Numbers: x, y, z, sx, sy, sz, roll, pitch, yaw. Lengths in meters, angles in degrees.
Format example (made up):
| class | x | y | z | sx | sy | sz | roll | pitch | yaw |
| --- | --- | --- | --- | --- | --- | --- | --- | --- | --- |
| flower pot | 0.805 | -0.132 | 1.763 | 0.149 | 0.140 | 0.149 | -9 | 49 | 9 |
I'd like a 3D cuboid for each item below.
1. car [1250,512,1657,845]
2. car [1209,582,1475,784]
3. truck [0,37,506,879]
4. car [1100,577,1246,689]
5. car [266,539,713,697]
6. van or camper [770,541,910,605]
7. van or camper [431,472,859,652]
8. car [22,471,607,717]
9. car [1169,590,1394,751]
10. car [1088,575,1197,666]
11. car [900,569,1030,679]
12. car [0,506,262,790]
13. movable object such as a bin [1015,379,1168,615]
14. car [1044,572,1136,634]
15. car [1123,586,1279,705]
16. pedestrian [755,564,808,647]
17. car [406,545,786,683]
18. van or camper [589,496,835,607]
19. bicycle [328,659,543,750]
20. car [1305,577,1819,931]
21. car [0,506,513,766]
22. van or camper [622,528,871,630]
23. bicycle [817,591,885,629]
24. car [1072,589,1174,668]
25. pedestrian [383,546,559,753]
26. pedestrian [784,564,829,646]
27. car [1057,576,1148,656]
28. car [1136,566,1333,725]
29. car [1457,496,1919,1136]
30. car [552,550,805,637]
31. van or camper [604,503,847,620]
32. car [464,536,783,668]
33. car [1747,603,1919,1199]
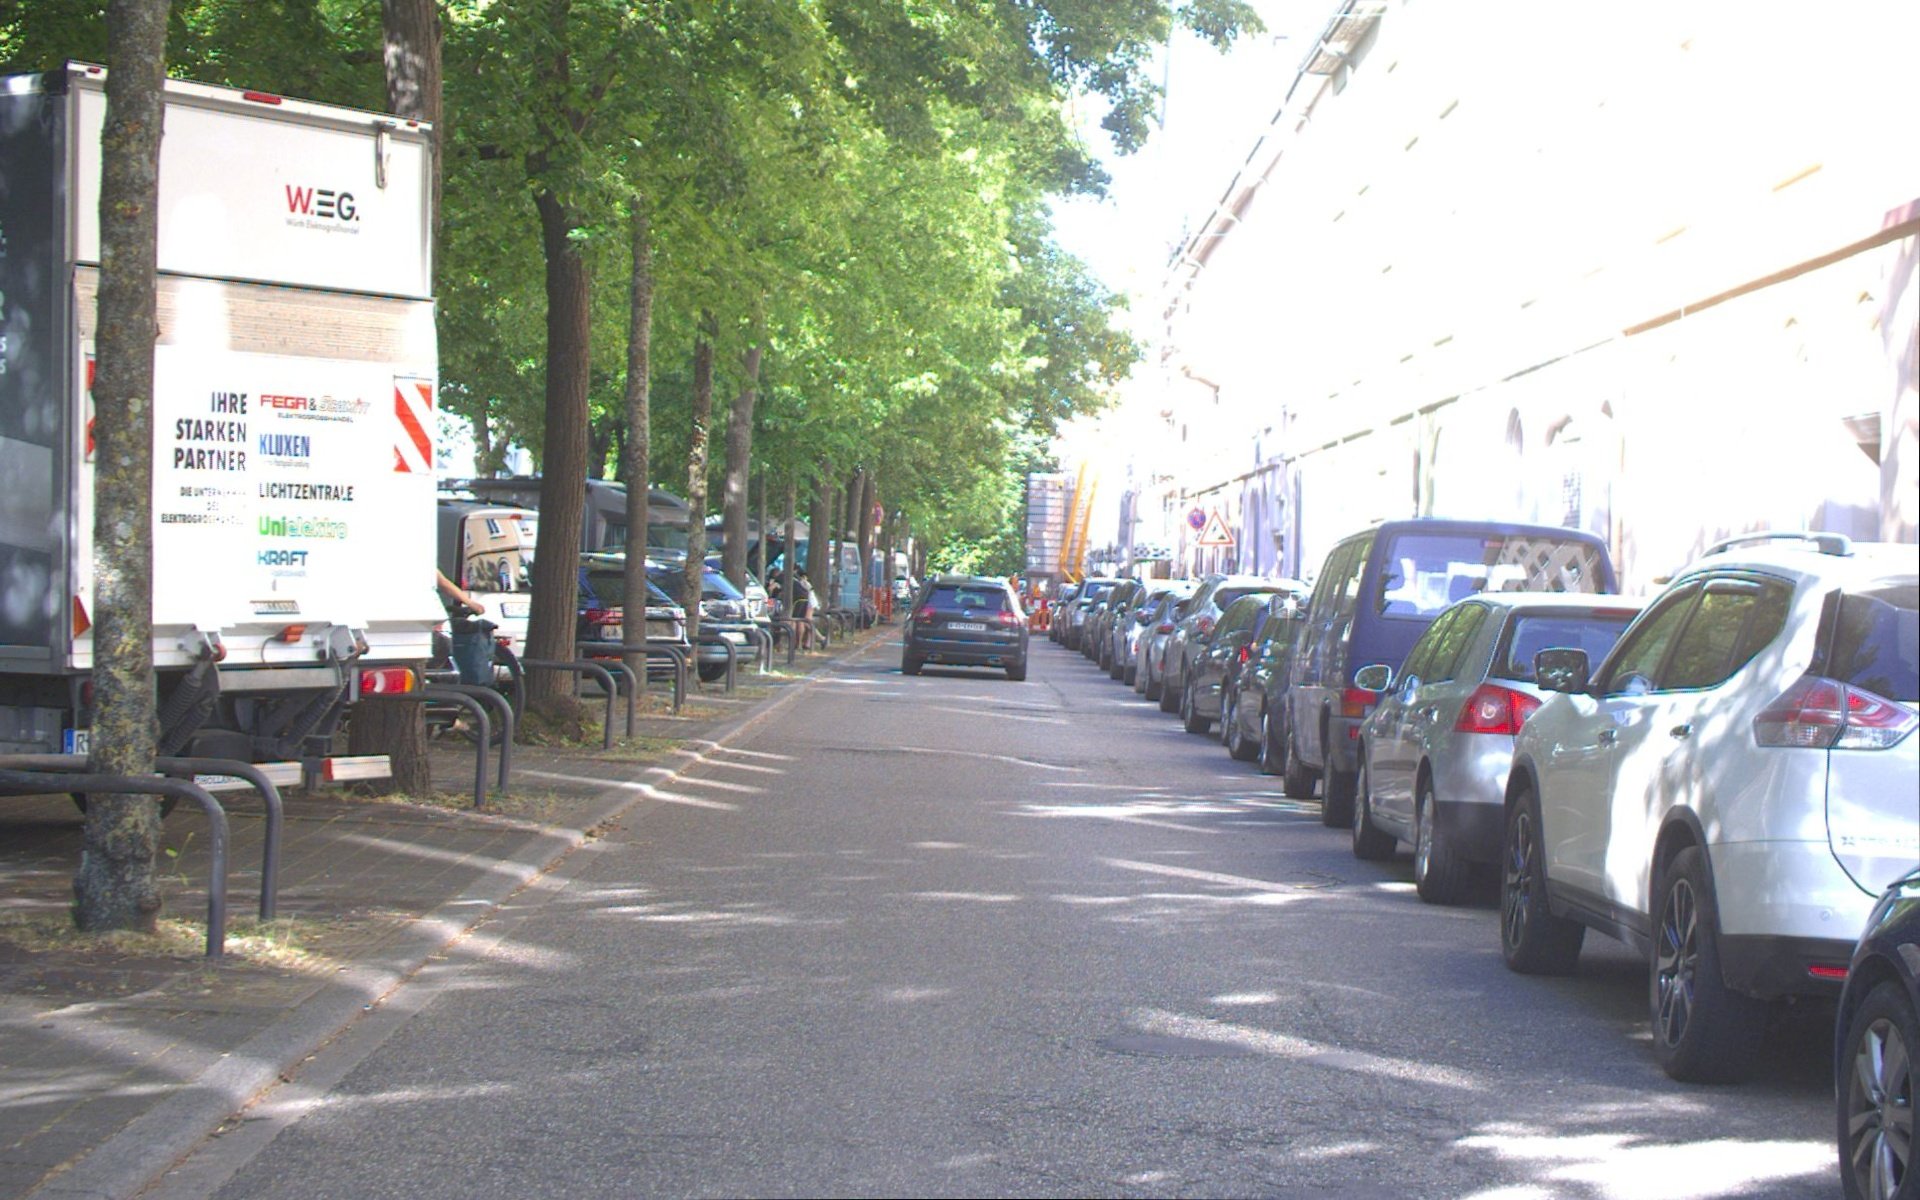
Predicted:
| class | x | y | z | sx | sy | sz | roll | pitch | yaw |
| --- | --- | --- | --- | --- | --- | --- | --- | --- | --- |
| car | 3.113 | 0.441 | 22.677 | 1.948 | 1.894 | 4.845 | 2 | 0 | 0 |
| car | 3.085 | 0.633 | 28.381 | 1.621 | 1.493 | 3.595 | 2 | 0 | -2 |
| truck | -5.871 | -0.650 | 16.402 | 7.315 | 3.282 | 2.542 | 2 | 1 | 32 |
| car | 3.141 | 0.460 | 51.399 | 1.722 | 1.523 | 4.158 | 2 | 0 | -2 |
| car | -4.935 | 0.169 | 35.873 | 4.483 | 1.450 | 1.784 | 2 | 0 | 32 |
| van or camper | -4.958 | -1.106 | 141.279 | 5.342 | 2.466 | 2.289 | 2 | 1 | 32 |
| van or camper | -5.518 | -0.690 | 59.762 | 7.237 | 2.920 | 2.310 | 2 | 1 | 27 |
| car | -5.550 | -0.071 | 29.551 | 4.515 | 1.858 | 2.078 | 3 | 0 | 25 |
| car | 3.061 | 0.643 | 33.415 | 1.549 | 1.389 | 3.862 | 2 | 0 | -4 |
| car | 3.267 | 0.353 | 62.093 | 1.630 | 1.529 | 3.593 | 2 | 0 | -1 |
| car | 0.039 | 0.323 | 50.451 | 1.797 | 1.498 | 3.586 | 2 | 1 | -1 |
| car | -6.223 | 0.189 | 20.024 | 3.994 | 1.497 | 1.845 | 3 | 0 | 32 |
| movable object such as a bin | 3.839 | -3.009 | 100.422 | 3.485 | 6.736 | 2.364 | 3 | 0 | 33 |
| car | 3.245 | 0.059 | 86.474 | 1.993 | 1.404 | 4.501 | 3 | 1 | -1 |
| car | 3.158 | 0.566 | 45.720 | 1.722 | 1.427 | 4.158 | 2 | 0 | 0 |
| pedestrian | -3.200 | 0.096 | 61.555 | 0.710 | 1.451 | 0.595 | 2 | 0 | 23 |
| car | -4.432 | 0.158 | 41.610 | 4.418 | 1.457 | 1.713 | 2 | 0 | 33 |
| van or camper | -6.267 | -1.222 | 86.690 | 5.878 | 2.628 | 2.251 | 2 | 1 | 30 |
| bicycle | -3.736 | 0.733 | 24.431 | 1.612 | 0.556 | 0.409 | 2 | 1 | 31 |
| car | 2.877 | 0.666 | 17.342 | 1.762 | 1.495 | 4.238 | 2 | 0 | -1 |
| car | -5.137 | 0.188 | 22.715 | 4.102 | 1.501 | 1.730 | 3 | 0 | 32 |
| van or camper | -5.119 | -0.517 | 82.434 | 5.505 | 2.268 | 2.218 | 2 | 1 | 24 |
| bicycle | -3.080 | 0.273 | 97.055 | 1.899 | 1.003 | 0.430 | 2 | 0 | 24 |
| car | 3.137 | 0.537 | 66.791 | 1.630 | 1.408 | 4.089 | 2 | 0 | -1 |
| pedestrian | -3.406 | 0.338 | 23.990 | 0.752 | 1.392 | 0.927 | 2 | 0 | 32 |
| pedestrian | -2.770 | 0.090 | 62.132 | 0.615 | 1.451 | 0.519 | 2 | 0 | 23 |
| car | 3.175 | 0.342 | 77.360 | 1.816 | 1.668 | 4.673 | 2 | 0 | 0 |
| car | 3.110 | 0.477 | 39.671 | 1.722 | 1.680 | 4.158 | 2 | 0 | -2 |
| car | 2.996 | 0.595 | 11.739 | 1.762 | 1.747 | 4.510 | 2 | 0 | -2 |
| car | -5.150 | -0.116 | 62.815 | 4.322 | 1.419 | 1.673 | 2 | 1 | 27 |
| van or camper | -6.820 | -1.126 | 99.804 | 6.667 | 3.230 | 2.491 | 2 | 1 | 29 |
| car | -4.720 | 0.016 | 48.106 | 4.140 | 1.673 | 1.756 | 2 | 1 | 29 |
| car | 3.053 | 0.794 | 6.407 | 1.802 | 1.458 | 4.441 | 2 | 0 | -4 |
